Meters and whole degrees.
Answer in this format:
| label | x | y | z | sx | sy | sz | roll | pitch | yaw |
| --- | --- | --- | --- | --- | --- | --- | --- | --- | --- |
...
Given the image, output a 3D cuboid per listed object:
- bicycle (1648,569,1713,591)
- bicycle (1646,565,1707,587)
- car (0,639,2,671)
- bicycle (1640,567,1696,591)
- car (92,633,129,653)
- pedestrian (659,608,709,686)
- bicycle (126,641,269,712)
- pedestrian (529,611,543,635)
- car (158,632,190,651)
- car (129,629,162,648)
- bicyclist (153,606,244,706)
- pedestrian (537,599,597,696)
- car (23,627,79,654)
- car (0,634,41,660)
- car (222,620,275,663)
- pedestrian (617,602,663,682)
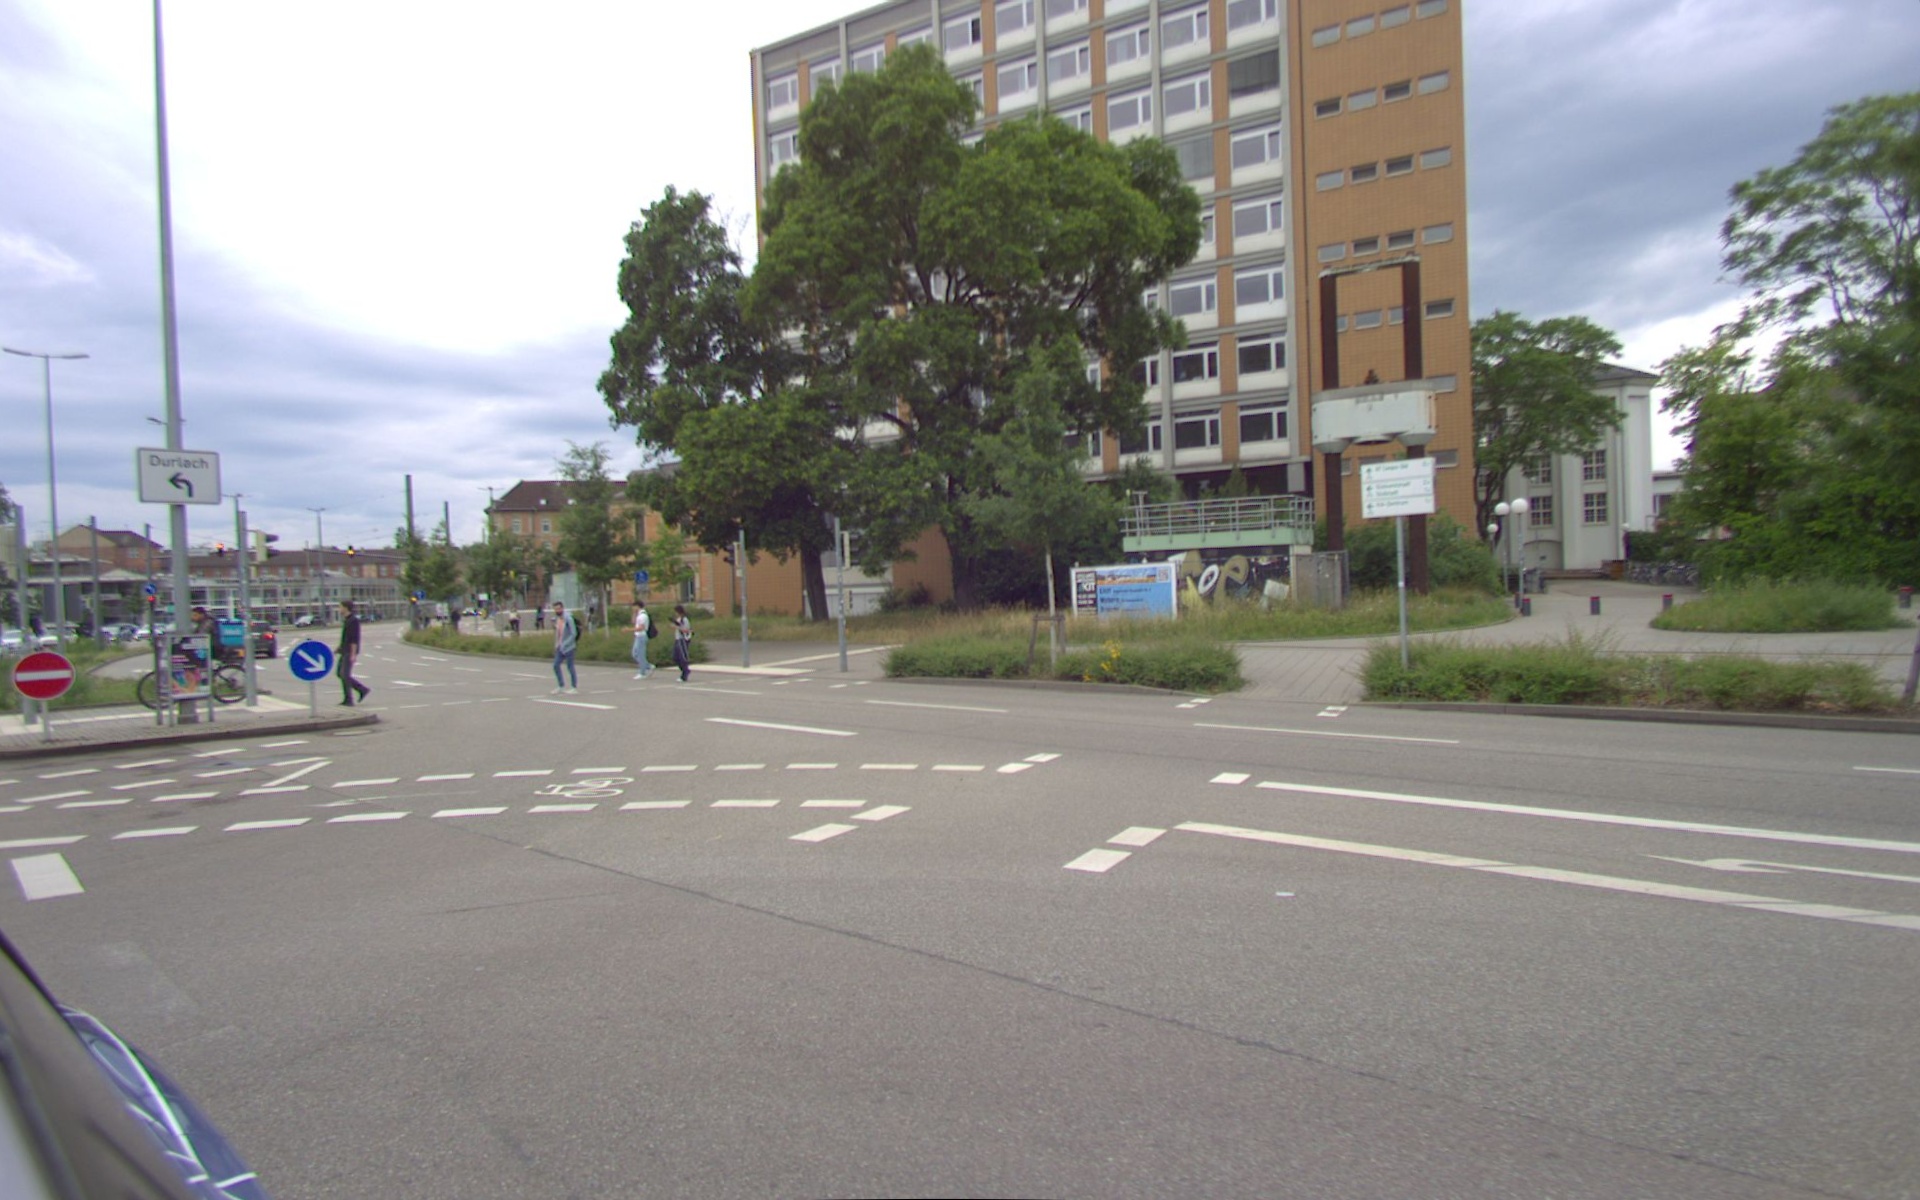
| label | x | y | z | sx | sy | sz | roll | pitch | yaw |
| --- | --- | --- | --- | --- | --- | --- | --- | --- | --- |
| bicycle | 34.754 | -0.956 | 48.844 | 0.842 | 0.946 | 2.351 | -1 | -1 | -39 |
| bicycle | 35.594 | -1.195 | 50.308 | 2.347 | 0.946 | 0.844 | -3 | -1 | 42 |
| car | -40.623 | 2.267 | 41.498 | 1.760 | 1.474 | 3.876 | -4 | 2 | -42 |
| bicycle | 33.802 | -1.004 | 48.341 | 0.809 | 1.004 | 2.030 | -1 | -1 | -39 |
| car | -72.049 | 3.646 | 85.867 | 1.583 | 1.608 | 3.771 | -2 | -1 | -27 |
| pedestrian | -6.116 | 1.030 | 22.419 | 0.703 | 1.680 | 0.771 | -3 | -1 | 24 |
| bicycle | -14.084 | 1.385 | 18.737 | 0.806 | 1.151 | 1.979 | -3 | -1 | 41 |
| pedestrian | -28.993 | 1.565 | 69.197 | 0.471 | 1.633 | 0.645 | -3 | -2 | 40 |
| car | -69.811 | 3.652 | 89.926 | 1.583 | 1.608 | 3.771 | -2 | -1 | -27 |
| car | -75.391 | 3.582 | 93.712 | 1.583 | 1.608 | 3.771 | -2 | -1 | -27 |
| bicyclist | -14.078 | 1.018 | 18.725 | 0.806 | 1.749 | 1.176 | -3 | -1 | 41 |
| pedestrian | -7.629 | 0.906 | 19.662 | 0.905 | 1.818 | 0.541 | -1 | -2 | -42 |
| car | -66.628 | 2.976 | 74.220 | 1.965 | 1.829 | 4.013 | -2 | -1 | -26 |
| car | -63.062 | 3.130 | 67.688 | 1.776 | 1.608 | 3.769 | -2 | -1 | -33 |
| car | -30.917 | 1.763 | 43.965 | 1.787 | 1.679 | 3.958 | -1 | 0 | -36 |
| pedestrian | -7.487 | 0.964 | 23.696 | 0.732 | 1.818 | 0.765 | -2 | -1 | 10 |
